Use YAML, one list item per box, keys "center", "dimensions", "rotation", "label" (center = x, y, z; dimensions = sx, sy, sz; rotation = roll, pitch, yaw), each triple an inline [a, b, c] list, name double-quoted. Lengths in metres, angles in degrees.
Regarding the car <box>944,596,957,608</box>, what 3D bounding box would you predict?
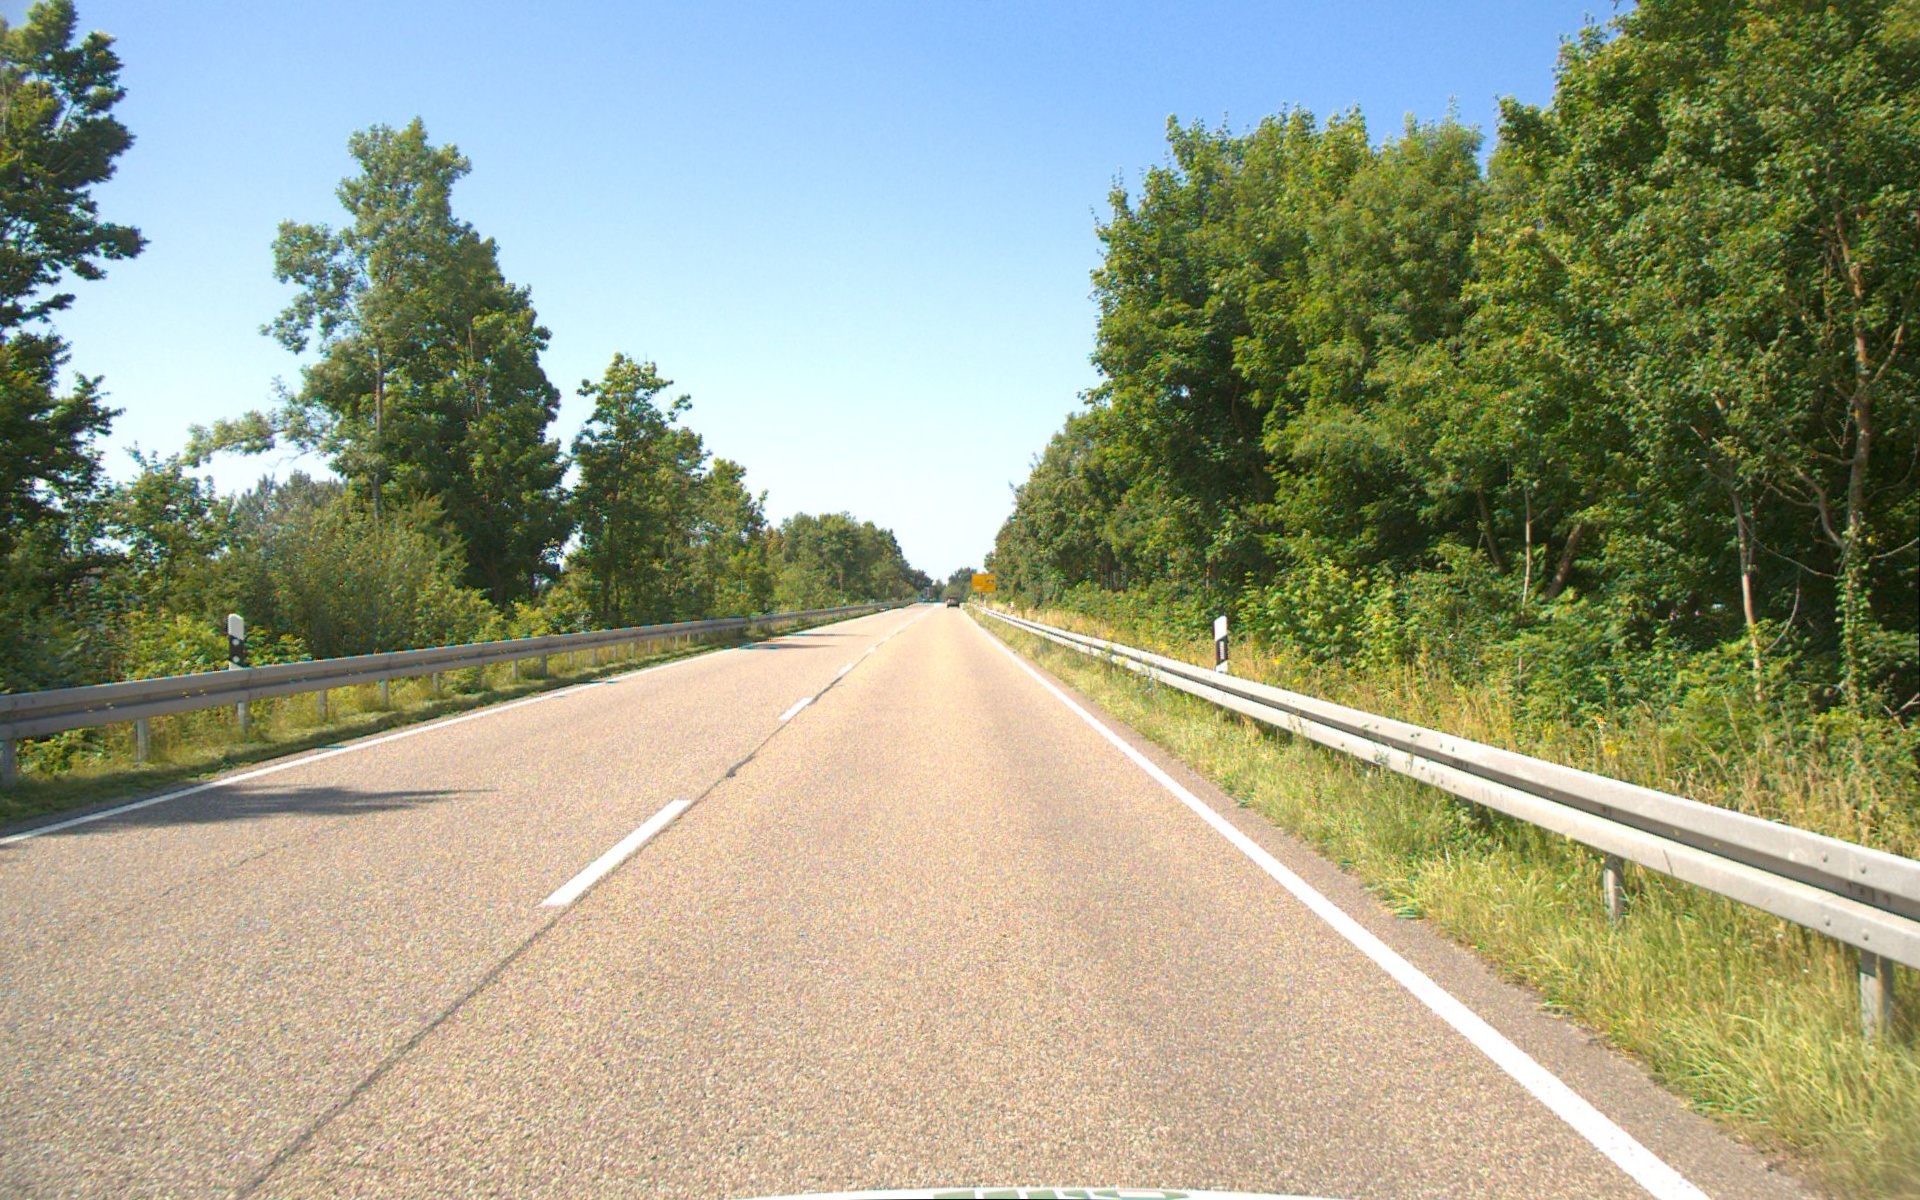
- center: [-1.323, 0.277, 223.974]
  dimensions: [1.705, 1.496, 3.693]
  rotation: [0, 0, 1]
  label: "car"
